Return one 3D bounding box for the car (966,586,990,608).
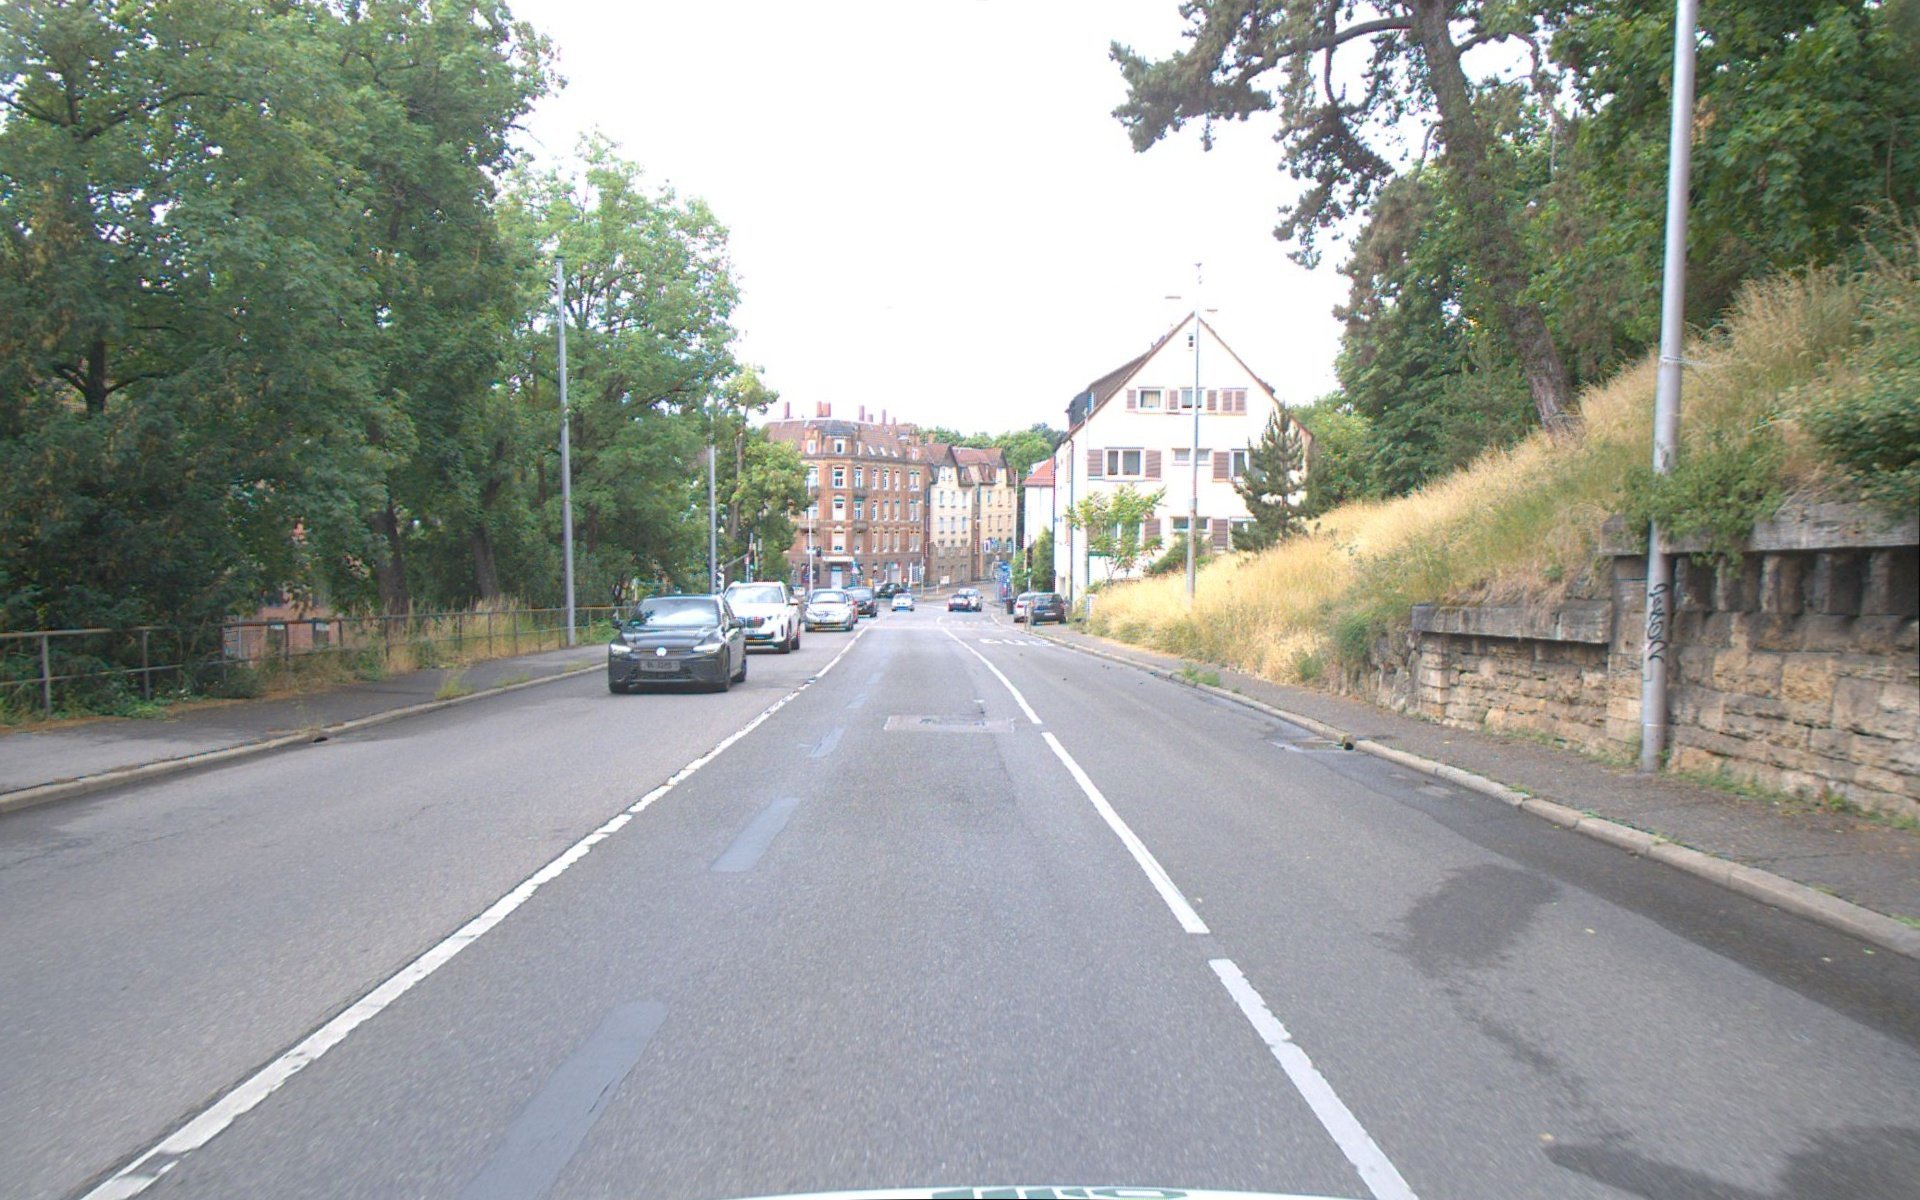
[{"bbox_3d":[1.602,-0.244,145.171,1.869,1.917,4.002,2,0,3],"label":"car"}]

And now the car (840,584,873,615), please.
[{"bbox_3d":[-6.063,-0.034,97.140,1.747,1.776,4.427,-1,0,-1],"label":"car"}]

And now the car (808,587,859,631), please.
[{"bbox_3d":[-4.858,0.343,64.059,1.748,1.602,4.279,-1,0,-2],"label":"car"}]

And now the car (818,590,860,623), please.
[{"bbox_3d":[-5.694,0.301,78.098,1.748,1.485,4.427,-1,0,-2],"label":"car"}]

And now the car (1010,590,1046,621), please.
[{"bbox_3d":[3.552,0.255,86.963,1.757,1.476,4.720,-3,1,2],"label":"car"}]

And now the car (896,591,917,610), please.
[{"bbox_3d":[-4.399,0.042,137.199,1.685,1.470,4.157,-1,0,-2],"label":"car"}]

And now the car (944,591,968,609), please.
[{"bbox_3d":[-0.334,-0.016,138.372,1.778,1.455,4.002,2,0,3],"label":"car"}]

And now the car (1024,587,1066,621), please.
[{"bbox_3d":[3.979,0.204,77.939,1.648,1.476,3.999,-3,0,-1],"label":"car"}]

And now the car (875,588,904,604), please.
[{"bbox_3d":[-7.685,-0.457,181.814,1.940,1.602,4.378,-2,0,15],"label":"car"}]

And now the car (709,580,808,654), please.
[{"bbox_3d":[-4.990,0.382,41.500,1.955,1.712,4.662,-1,0,-1],"label":"car"}]

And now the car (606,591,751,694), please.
[{"bbox_3d":[-4.294,0.597,25.797,1.678,1.452,4.137,0,0,-2],"label":"car"}]
